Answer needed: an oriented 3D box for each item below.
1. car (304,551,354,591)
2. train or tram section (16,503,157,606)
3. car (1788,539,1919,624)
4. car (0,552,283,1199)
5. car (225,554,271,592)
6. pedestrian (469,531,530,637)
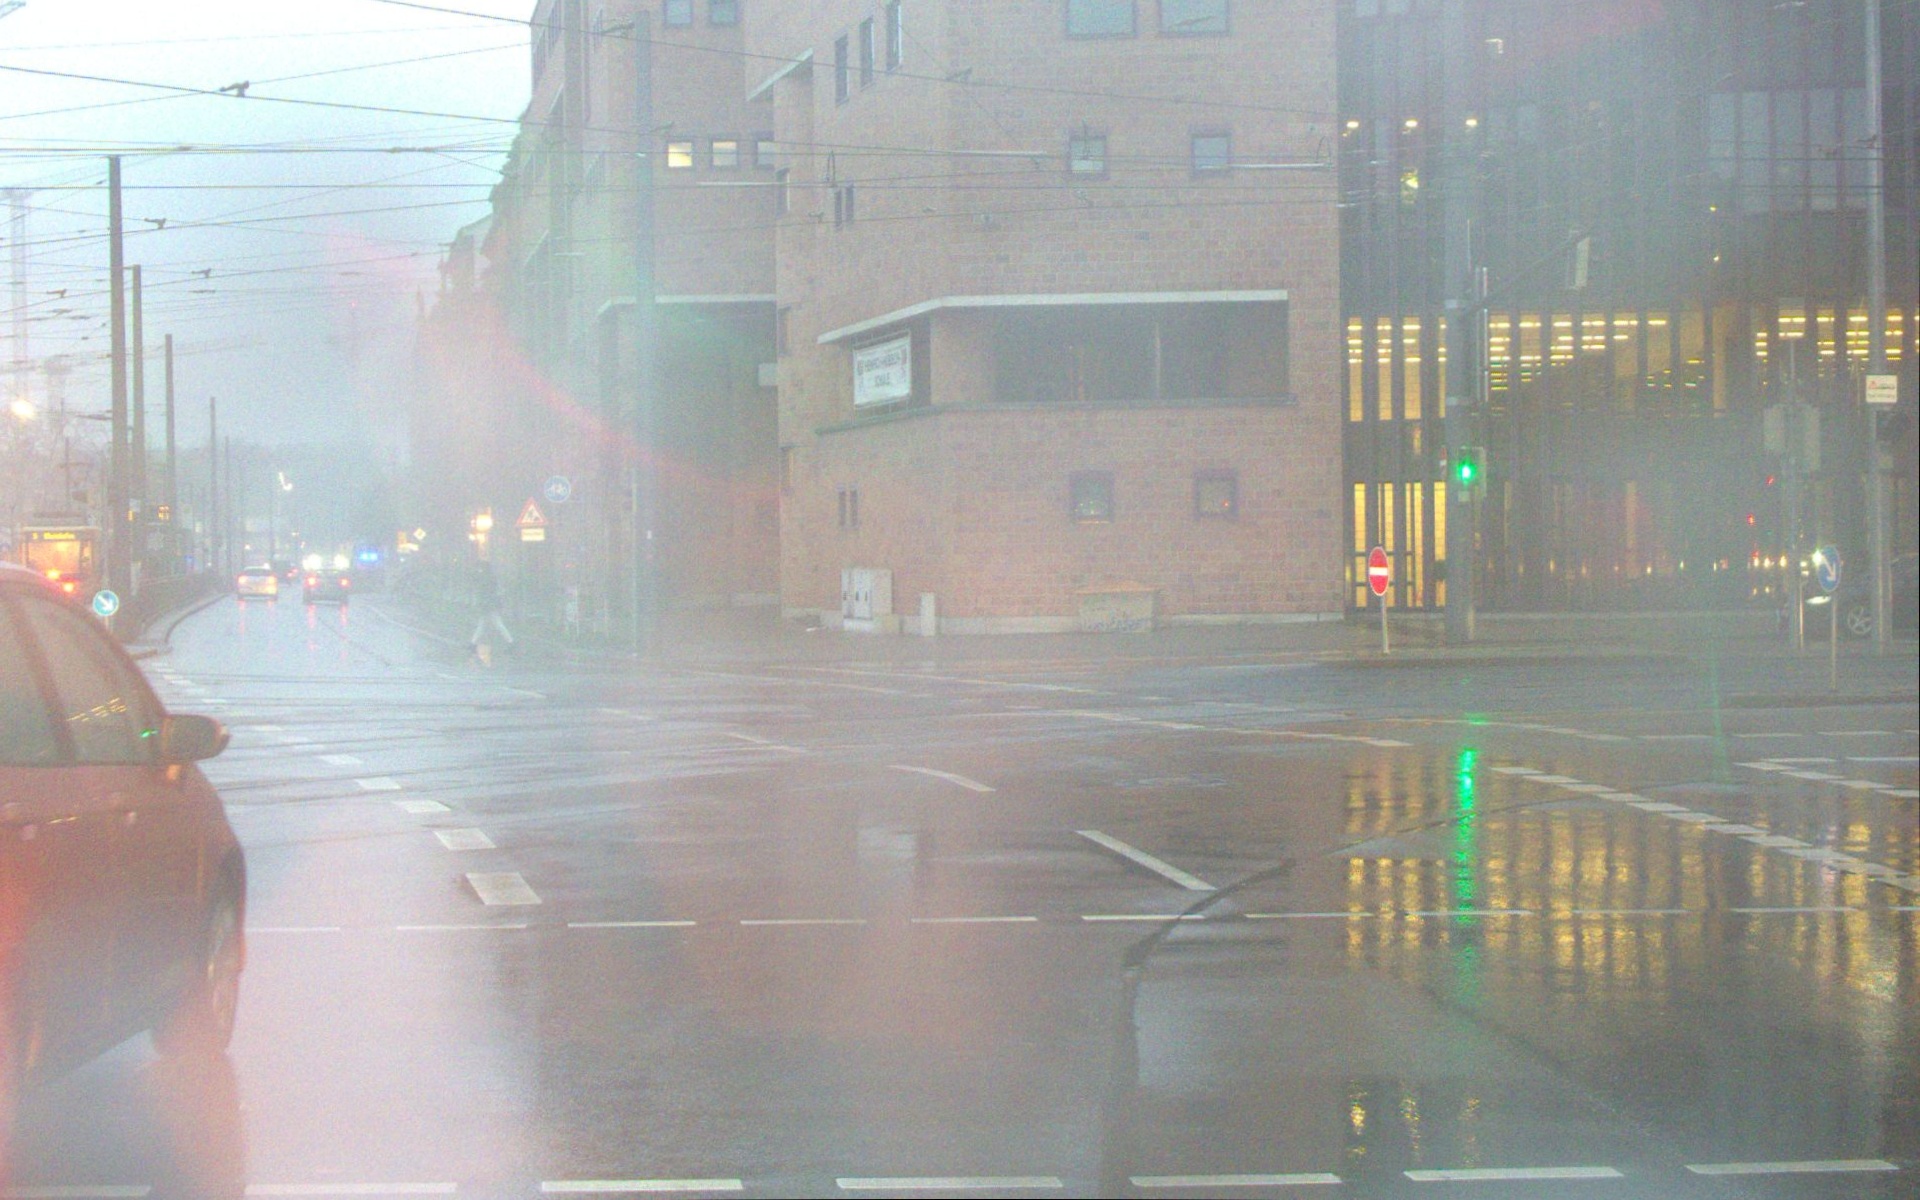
[{"bbox_3d":[-26.497,-1.234,144.457,1.870,1.573,4.001,1,1,-8],"label":"car"},{"bbox_3d":[-32.846,-1.719,130.369,3.190,3.424,27.839,-1,1,-10],"label":"train or tram section"},{"bbox_3d":[15.706,-0.333,55.729,3.986,1.305,2.000,-1,1,-4],"label":"car"},{"bbox_3d":[-2.953,0.620,8.751,1.698,1.454,3.757,-1,1,0],"label":"car"},{"bbox_3d":[-31.583,-1.205,152.529,1.870,1.573,4.001,1,1,-10],"label":"car"},{"bbox_3d":[-8.838,-0.314,66.007,1.068,2.007,0.685,-1,1,-13],"label":"pedestrian"}]
